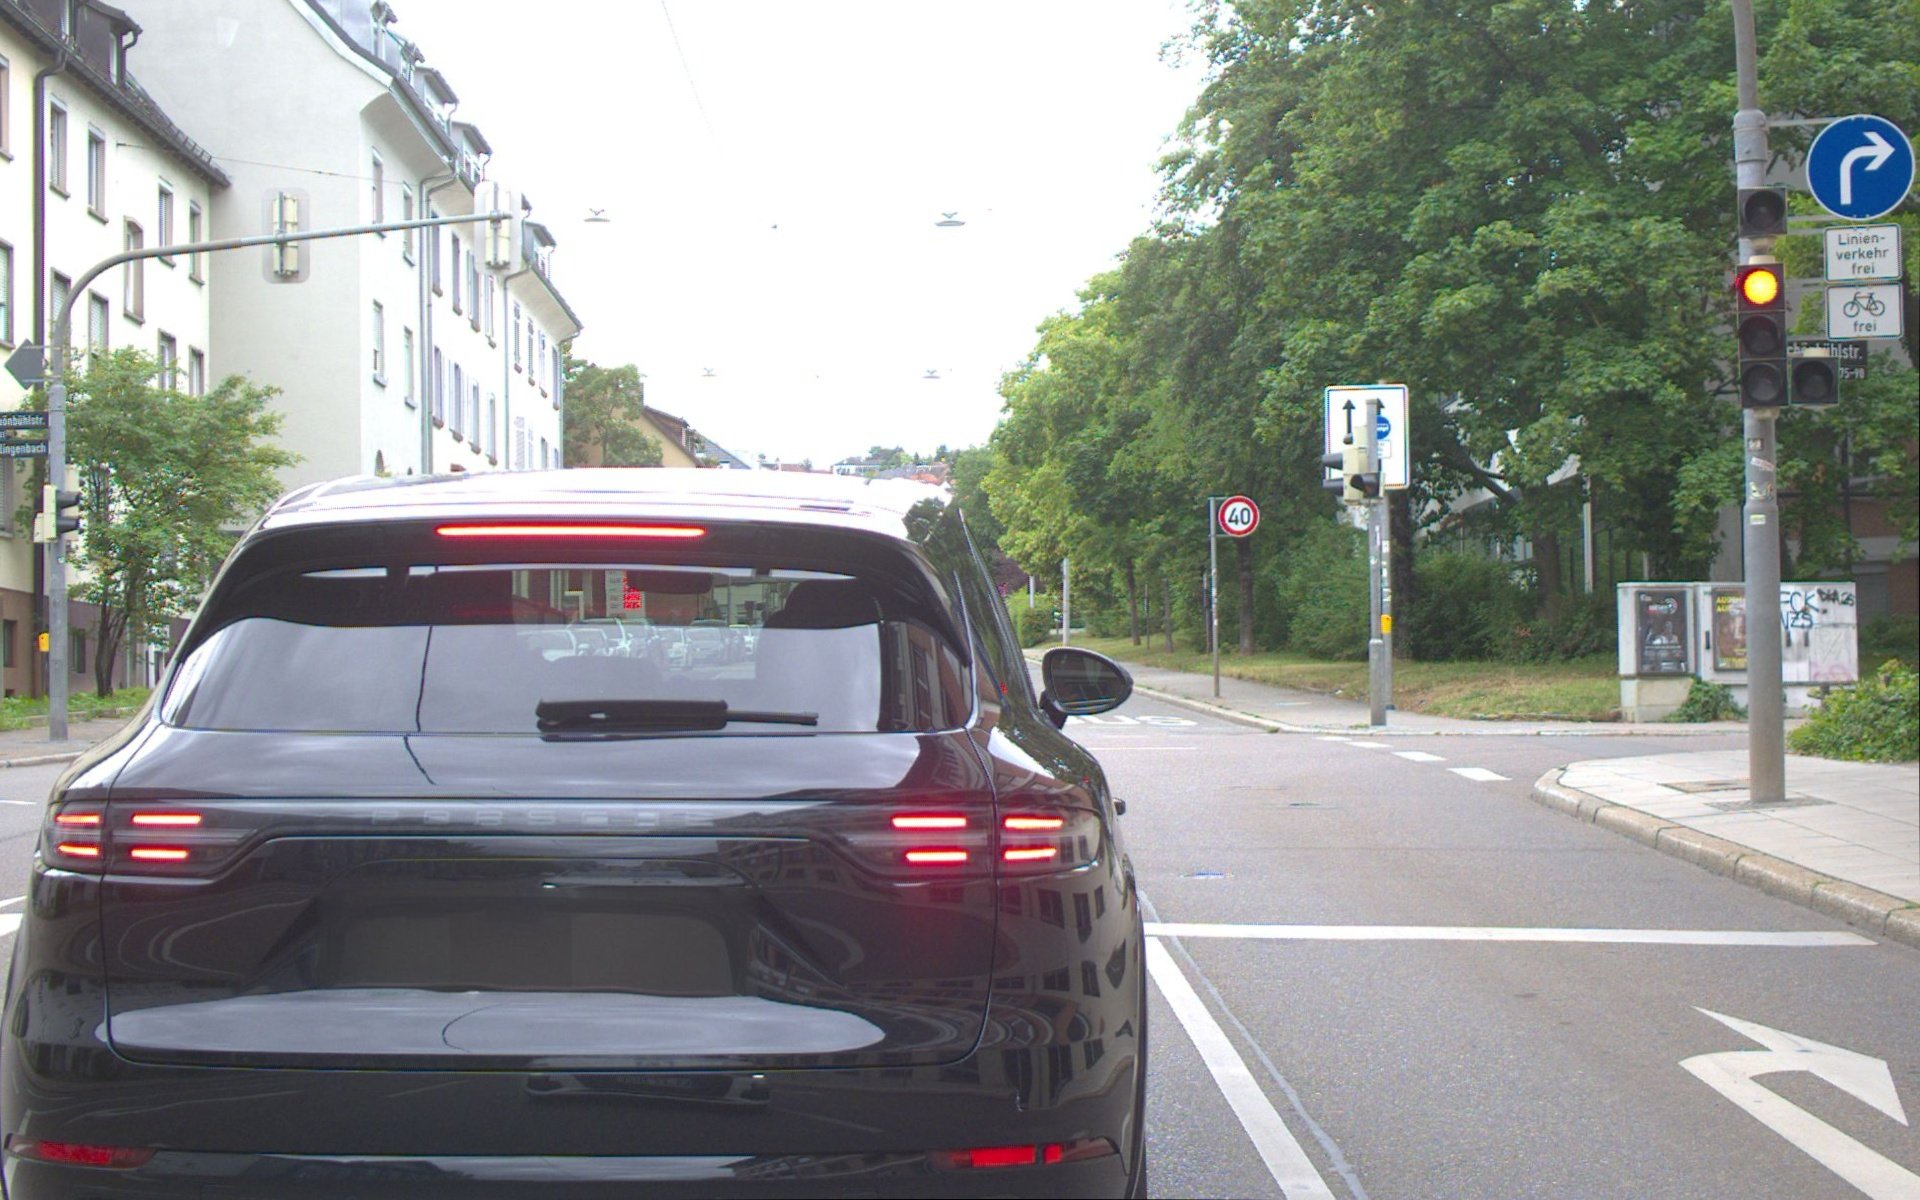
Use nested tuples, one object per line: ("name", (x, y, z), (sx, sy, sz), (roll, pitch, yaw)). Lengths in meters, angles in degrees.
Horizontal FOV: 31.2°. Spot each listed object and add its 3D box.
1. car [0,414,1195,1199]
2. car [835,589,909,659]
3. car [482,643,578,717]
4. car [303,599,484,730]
("car", (-0.677, 0.557, 7.179), (1.993, 1.691, 4.000), (1, 1, -1))
("car", (-2.094, 0.545, 80.896), (1.688, 1.547, 3.889), (1, 1, -2))
("car", (-8.642, 1.592, 69.376), (1.669, 1.357, 4.001), (0, 1, -3))
("car", (-7.441, 0.817, 45.448), (1.664, 1.514, 3.740), (-4, 0, 0))
